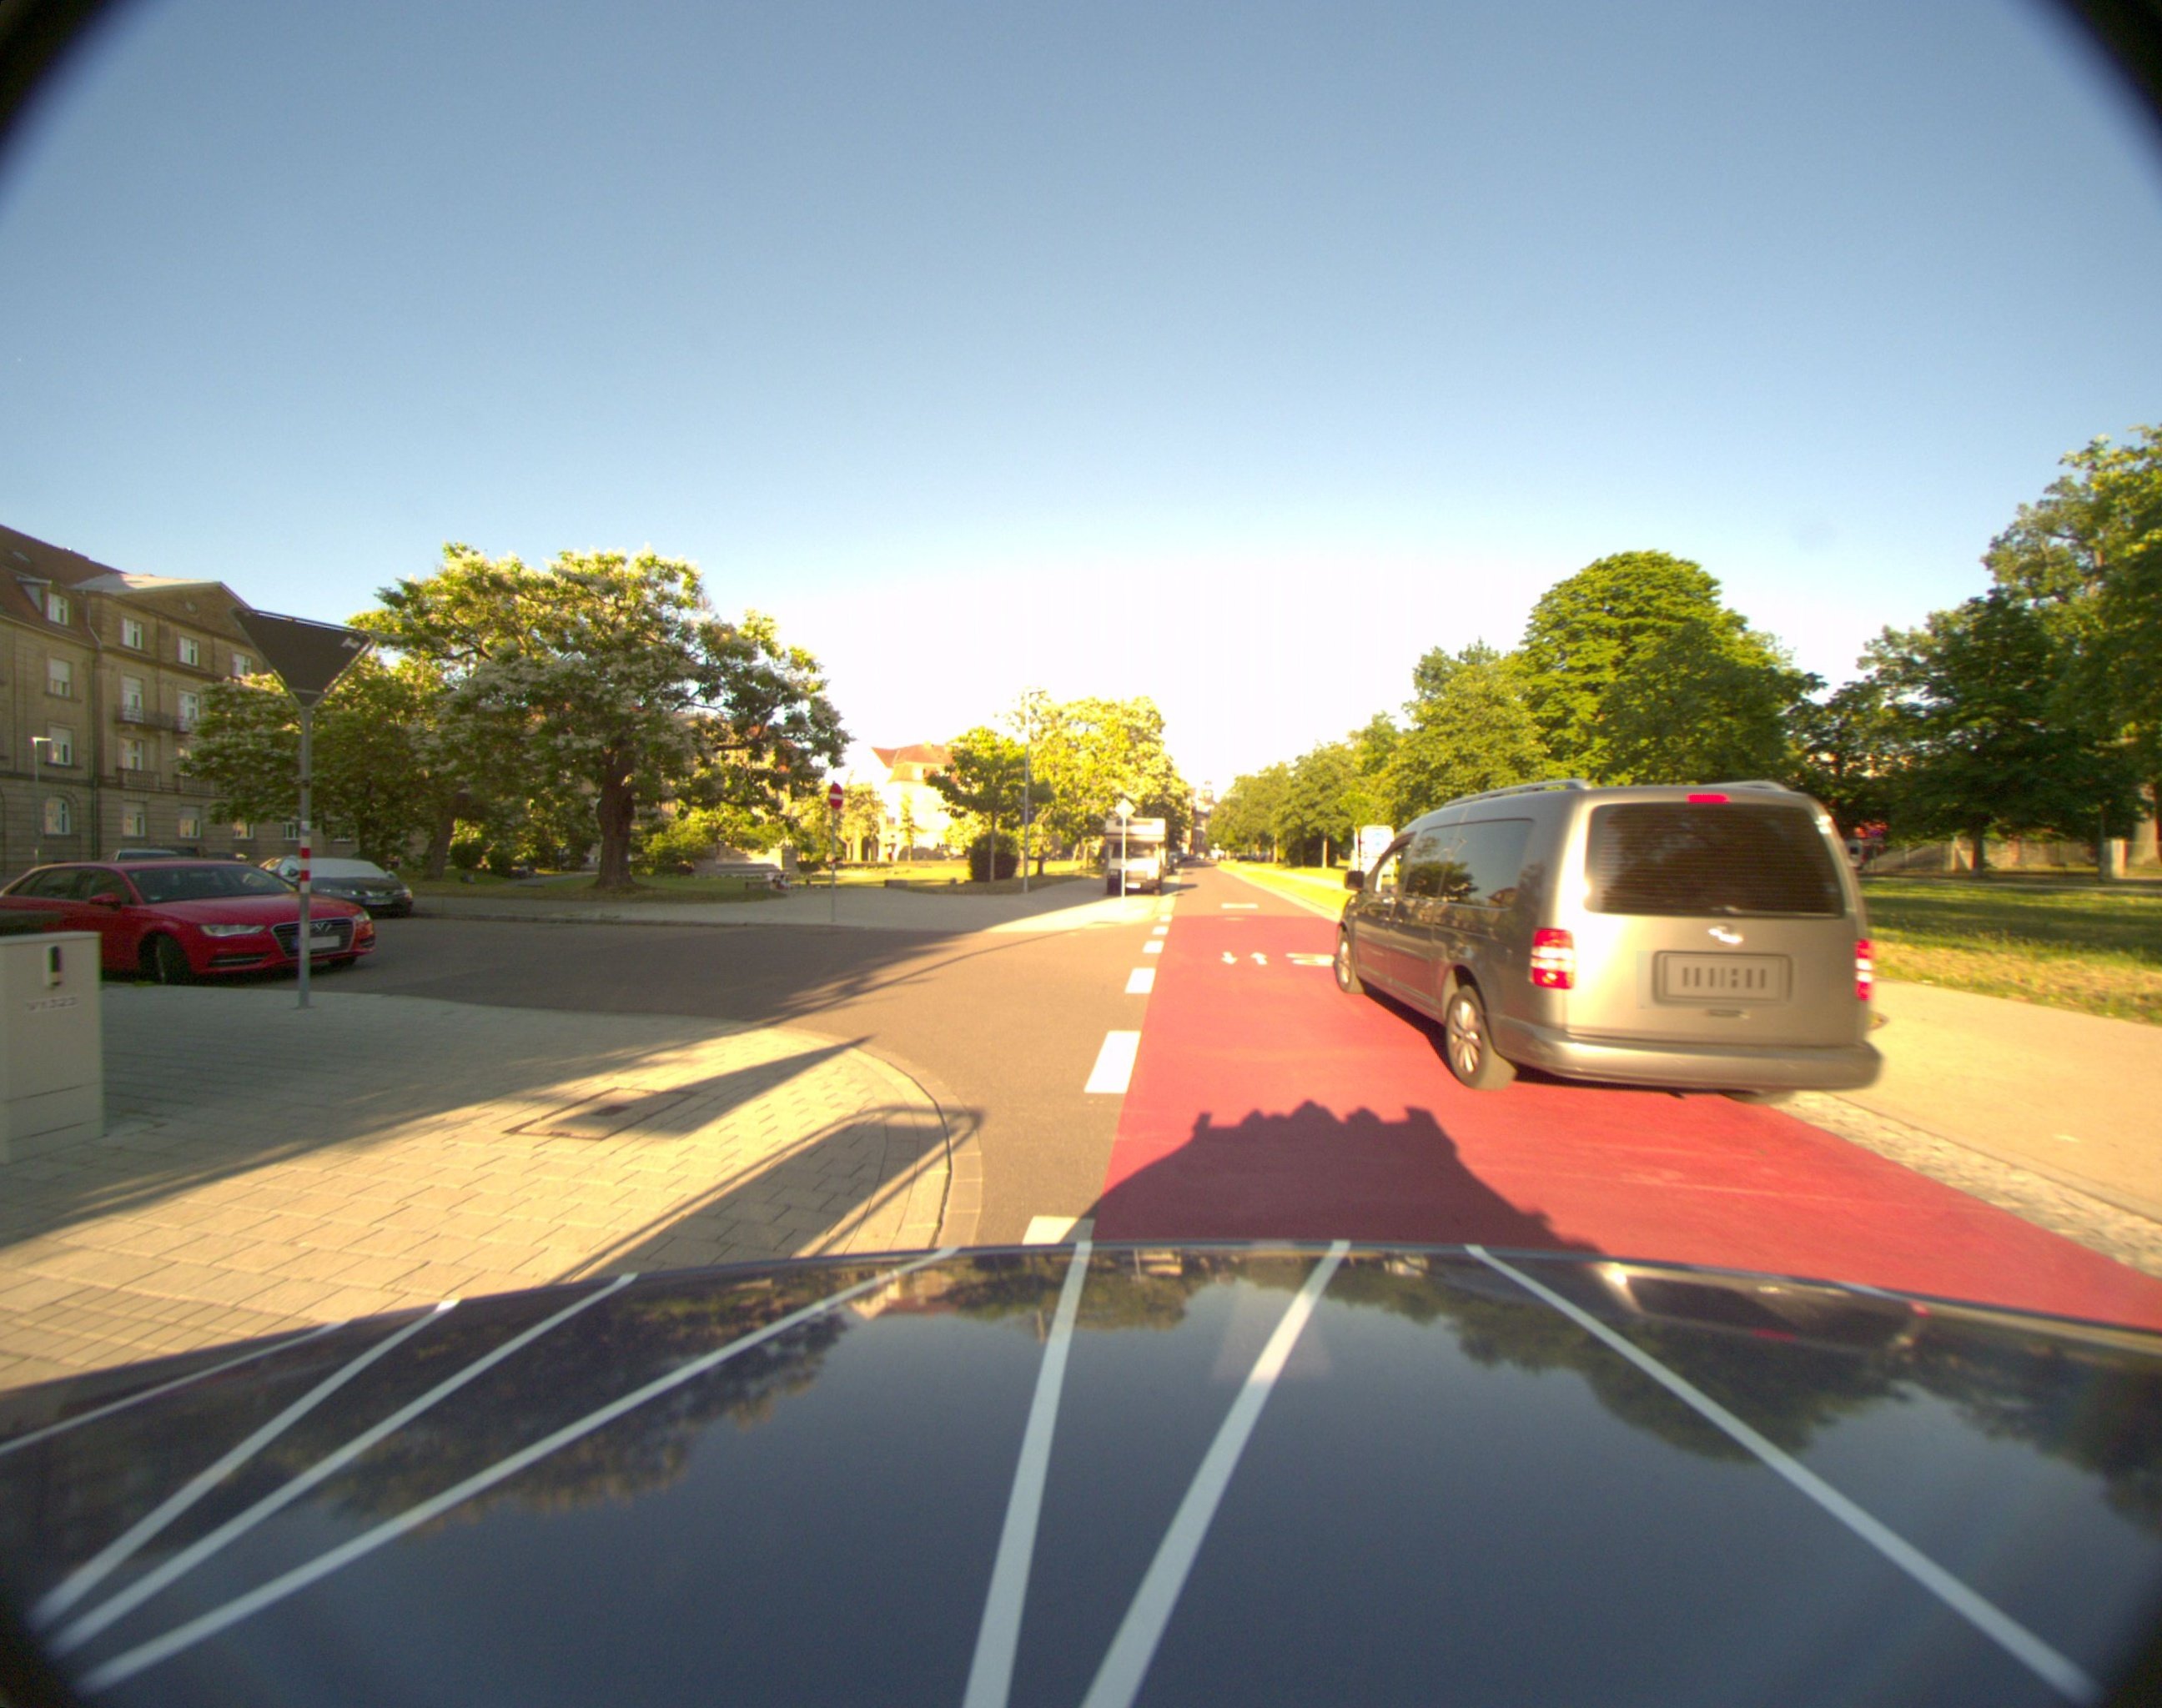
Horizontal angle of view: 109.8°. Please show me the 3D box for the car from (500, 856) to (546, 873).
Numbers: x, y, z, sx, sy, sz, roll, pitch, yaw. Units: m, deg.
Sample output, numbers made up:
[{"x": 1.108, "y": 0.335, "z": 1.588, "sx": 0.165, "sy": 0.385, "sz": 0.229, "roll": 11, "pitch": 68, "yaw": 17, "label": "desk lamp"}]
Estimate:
[{"x": -55.561, "y": 1.027, "z": 75.748, "sx": 1.775, "sy": 1.574, "sz": 3.998, "roll": -1, "pitch": 0, "yaw": -4, "label": "car"}]

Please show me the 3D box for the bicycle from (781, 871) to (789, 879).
[{"x": -23.391, "y": 1.647, "z": 59.992, "sx": 0.488, "sy": 0.579, "sz": 0.438, "roll": -1, "pitch": 0, "yaw": -31, "label": "bicycle"}]

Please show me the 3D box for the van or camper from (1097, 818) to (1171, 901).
[{"x": 2.188, "y": 0.154, "z": 29.373, "sx": 2.426, "sy": 2.767, "sz": 5.955, "roll": 2, "pitch": 1, "yaw": 7, "label": "van or camper"}]

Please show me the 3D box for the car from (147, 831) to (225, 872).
[{"x": -40.586, "y": -0.046, "z": 34.539, "sx": 1.730, "sy": 1.746, "sz": 3.694, "roll": 1, "pitch": -1, "yaw": -41, "label": "car"}]

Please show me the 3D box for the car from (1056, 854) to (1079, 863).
[{"x": -2.336, "y": 0.750, "z": 131.454, "sx": 3.705, "sy": 1.490, "sz": 1.725, "roll": -1, "pitch": 0, "yaw": -10, "label": "car"}]

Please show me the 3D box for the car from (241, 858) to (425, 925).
[{"x": -17.325, "y": 0.826, "z": 17.597, "sx": 3.990, "sy": 1.419, "sz": 1.730, "roll": -1, "pitch": -1, "yaw": 25, "label": "car"}]

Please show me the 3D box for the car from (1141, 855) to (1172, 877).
[{"x": 5.378, "y": 0.812, "z": 53.708, "sx": 1.997, "sy": 1.501, "sz": 4.002, "roll": -1, "pitch": 0, "yaw": 8, "label": "car"}]

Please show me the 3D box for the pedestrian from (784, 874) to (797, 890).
[{"x": -15.907, "y": 1.525, "z": 41.580, "sx": 0.453, "sy": 0.830, "sz": 0.499, "roll": 0, "pitch": 1, "yaw": 41, "label": "pedestrian"}]

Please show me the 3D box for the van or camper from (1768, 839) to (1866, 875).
[{"x": 51.585, "y": 0.207, "z": 53.448, "sx": 1.997, "sy": 2.425, "sz": 5.469, "roll": -1, "pitch": 0, "yaw": 6, "label": "van or camper"}]

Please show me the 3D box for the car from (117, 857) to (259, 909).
[{"x": -24.050, "y": 0.753, "z": 20.448, "sx": 3.695, "sy": 1.289, "sz": 1.730, "roll": -1, "pitch": -1, "yaw": 28, "label": "car"}]

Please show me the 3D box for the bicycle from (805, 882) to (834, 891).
[{"x": -14.666, "y": 1.805, "z": 42.614, "sx": 0.658, "sy": 0.380, "sz": 1.934, "roll": 0, "pitch": 0, "yaw": 10, "label": "bicycle"}]

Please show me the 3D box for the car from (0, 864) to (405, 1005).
[{"x": -10.990, "y": 0.899, "z": 9.409, "sx": 4.040, "sy": 1.412, "sz": 1.790, "roll": -1, "pitch": 3, "yaw": 12, "label": "car"}]

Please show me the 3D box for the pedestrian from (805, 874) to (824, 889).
[{"x": -14.123, "y": 1.464, "z": 40.252, "sx": 0.812, "sy": 0.760, "sz": 0.497, "roll": 1, "pitch": -1, "yaw": -43, "label": "pedestrian"}]

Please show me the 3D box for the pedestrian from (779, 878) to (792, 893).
[{"x": -15.267, "y": 1.618, "z": 39.247, "sx": 0.498, "sy": 0.742, "sz": 0.455, "roll": -1, "pitch": 0, "yaw": 4, "label": "pedestrian"}]

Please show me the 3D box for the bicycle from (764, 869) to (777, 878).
[{"x": -24.271, "y": 1.507, "z": 59.449, "sx": 0.907, "sy": 0.648, "sz": 0.438, "roll": -1, "pitch": 0, "yaw": -31, "label": "bicycle"}]

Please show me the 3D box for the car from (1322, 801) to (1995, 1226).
[{"x": 3.267, "y": 0.667, "z": 5.689, "sx": 1.847, "sy": 1.837, "sz": 4.574, "roll": 1, "pitch": 1, "yaw": 6, "label": "car"}]

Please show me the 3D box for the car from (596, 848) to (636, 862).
[{"x": -52.783, "y": 0.143, "z": 86.353, "sx": 1.723, "sy": 1.489, "sz": 3.709, "roll": 0, "pitch": -1, "yaw": 15, "label": "car"}]

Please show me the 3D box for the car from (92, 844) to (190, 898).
[{"x": -30.649, "y": 0.559, "z": 24.755, "sx": 3.694, "sy": 1.617, "sz": 1.730, "roll": -1, "pitch": -1, "yaw": 35, "label": "car"}]
